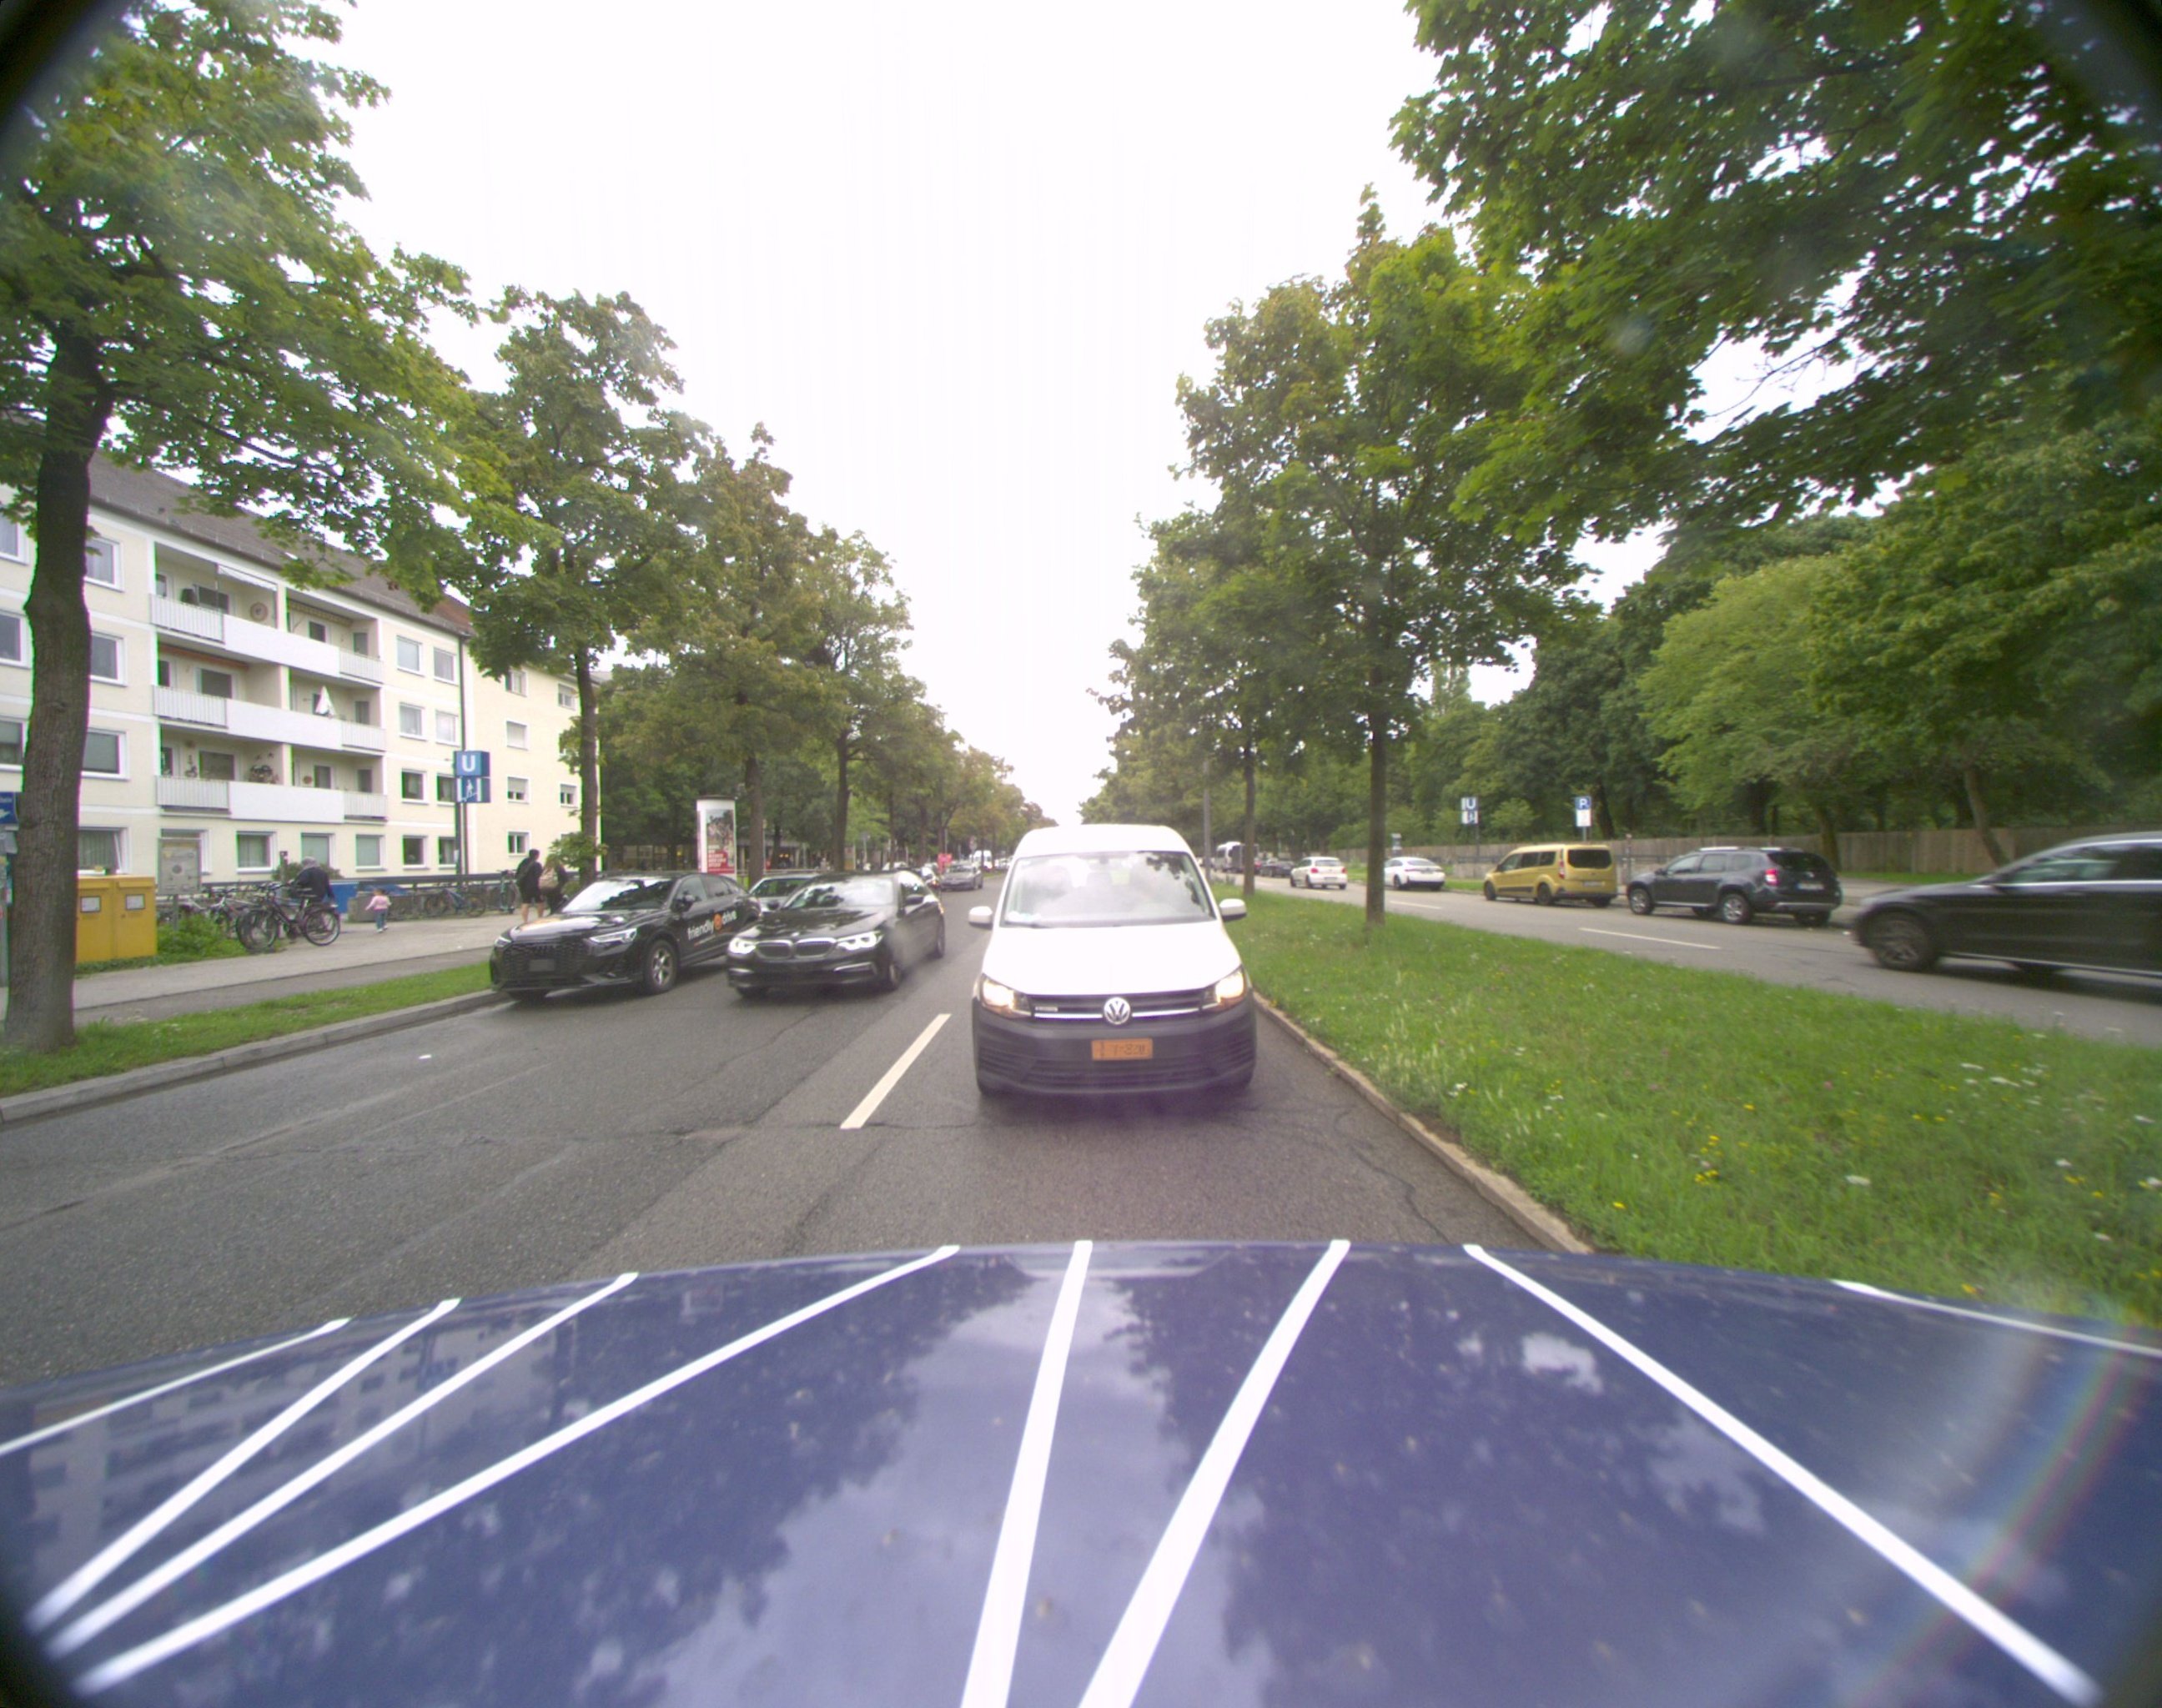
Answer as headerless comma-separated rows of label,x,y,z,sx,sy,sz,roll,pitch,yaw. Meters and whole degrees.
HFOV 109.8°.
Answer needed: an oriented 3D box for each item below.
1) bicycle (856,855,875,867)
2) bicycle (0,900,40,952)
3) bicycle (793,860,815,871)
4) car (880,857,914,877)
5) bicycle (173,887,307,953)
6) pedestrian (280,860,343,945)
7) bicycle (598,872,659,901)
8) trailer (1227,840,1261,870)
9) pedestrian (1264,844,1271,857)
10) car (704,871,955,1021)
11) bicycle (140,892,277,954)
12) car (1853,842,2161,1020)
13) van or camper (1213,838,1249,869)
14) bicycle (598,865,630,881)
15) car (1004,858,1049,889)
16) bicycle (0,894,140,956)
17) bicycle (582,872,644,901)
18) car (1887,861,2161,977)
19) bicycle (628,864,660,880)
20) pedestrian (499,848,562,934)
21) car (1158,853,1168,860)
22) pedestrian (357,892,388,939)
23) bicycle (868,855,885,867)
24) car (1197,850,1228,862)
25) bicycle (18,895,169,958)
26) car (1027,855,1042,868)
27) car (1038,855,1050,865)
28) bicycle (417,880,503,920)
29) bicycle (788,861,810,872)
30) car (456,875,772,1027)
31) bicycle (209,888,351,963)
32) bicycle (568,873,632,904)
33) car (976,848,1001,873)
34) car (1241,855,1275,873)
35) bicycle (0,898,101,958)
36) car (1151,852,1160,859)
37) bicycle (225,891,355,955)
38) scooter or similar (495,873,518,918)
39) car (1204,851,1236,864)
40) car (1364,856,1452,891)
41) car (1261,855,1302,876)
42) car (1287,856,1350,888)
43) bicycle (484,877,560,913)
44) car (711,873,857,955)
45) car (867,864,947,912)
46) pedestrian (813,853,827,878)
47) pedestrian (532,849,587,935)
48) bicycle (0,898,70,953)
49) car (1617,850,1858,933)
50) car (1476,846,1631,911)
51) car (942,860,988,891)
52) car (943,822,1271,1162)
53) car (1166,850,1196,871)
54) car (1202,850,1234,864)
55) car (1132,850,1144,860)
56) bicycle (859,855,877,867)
bicycle,-28.939,0.975,101.885,2.313,1.523,0.649,-1,1,0
bicycle,-22.245,1.479,15.121,0.432,1.022,1.883,0,0,1
bicycle,-29.309,1.247,80.451,2.080,1.114,0.455,-1,1,0
car,-16.308,1.121,67.655,1.826,1.624,4.198,0,0,2
bicycle,-15.956,1.215,14.487,0.432,1.095,1.883,0,0,1
pedestrian,-15.886,0.978,15.713,0.843,1.671,0.832,-1,1,-42
bicycle,-16.499,1.183,27.746,1.883,1.022,0.432,0,1,-8
trailer,14.419,0.077,67.474,2.022,2.575,4.658,0,0,0
pedestrian,26.678,-0.496,108.734,0.770,1.757,0.873,0,1,-4
car,-3.091,1.046,10.519,1.799,1.434,4.667,-3,0,1
bicycle,-16.659,1.278,14.585,0.432,1.022,1.883,0,0,1
car,10.721,0.709,7.411,1.771,1.614,4.506,1,0,0
van or camper,14.452,-0.034,73.582,2.040,2.821,7.546,0,0,0
bicycle,-28.963,1.191,47.126,1.696,0.965,0.455,-1,0,-4
car,-2.783,0.975,39.745,1.889,1.434,4.667,-3,0,1
bicycle,-19.446,1.328,14.568,0.432,1.022,1.883,0,0,1
bicycle,-16.732,1.160,27.186,1.883,1.022,0.432,0,1,-6
car,14.585,0.844,10.633,1.767,1.441,4.532,0,0,-1
bicycle,-27.180,1.133,47.268,1.696,0.965,0.455,-1,0,-4
pedestrian,-12.463,0.816,17.242,0.731,1.879,0.919,0,1,-1
car,16.631,0.465,154.240,1.889,1.435,4.169,-2,1,4
pedestrian,-15.006,1.298,16.100,0.410,0.944,0.434,-1,1,-38
bicycle,-29.272,0.984,108.710,2.316,1.613,0.648,-1,1,-17
car,18.846,0.300,108.992,4.005,1.455,1.888,-3,0,-27
bicycle,-18.951,1.361,14.652,0.432,1.022,1.883,0,0,1
car,-6.179,0.972,101.605,1.686,1.632,4.464,-4,0,0
car,-6.087,1.024,124.368,1.735,1.498,4.441,-3,0,-1
bicycle,-16.545,1.229,20.257,1.882,1.022,0.432,0,1,-3
bicycle,-29.024,1.278,78.129,2.080,1.114,0.455,-1,1,0
car,-6.124,1.150,10.684,1.721,1.524,4.275,-3,0,0
bicycle,-13.824,1.195,13.195,0.432,1.127,1.884,0,0,1
bicycle,-16.647,1.195,26.323,1.882,1.022,0.432,0,1,-3
car,-10.322,0.717,84.894,1.978,2.641,6.005,-3,0,0
car,14.272,0.785,61.432,1.805,1.376,4.238,0,0,0
bicycle,-20.166,1.407,14.510,0.432,1.022,1.883,0,0,1
car,16.294,0.335,166.141,1.889,1.435,4.169,-2,1,4
bicycle,-14.725,1.254,14.221,0.432,1.022,1.883,0,0,1
scooter or similar,-16.033,1.146,21.197,0.359,1.193,1.386,-1,1,-42
car,18.218,0.472,99.702,4.006,1.477,1.797,-3,0,-34
car,14.656,0.821,34.377,1.861,1.464,4.874,0,0,-1
car,14.425,0.802,54.920,1.805,1.417,4.431,0,0,0
car,10.752,0.787,34.622,1.622,1.367,3.837,1,0,0
bicycle,-16.666,1.220,22.670,1.882,1.022,0.432,0,1,-3
car,-6.299,1.203,16.650,1.640,1.378,4.243,-3,0,-3
car,-6.057,1.141,26.958,1.755,1.457,4.176,-3,0,1
pedestrian,-18.332,0.789,53.363,0.641,1.739,0.849,0,0,-2
pedestrian,-11.803,0.834,17.226,0.589,1.879,0.902,-1,1,-1
bicycle,-21.094,1.411,14.730,0.432,1.022,1.883,0,0,1
car,14.562,0.747,17.236,1.741,1.636,4.255,0,0,-1
car,14.339,0.681,23.455,1.819,1.772,4.817,0,0,1
car,-6.194,1.100,40.883,1.686,1.457,4.115,-3,0,1
car,0.107,0.740,6.418,1.750,1.807,4.667,-1,0,-1
car,8.244,0.505,62.958,1.908,1.686,4.245,1,0,1
car,18.535,0.424,102.694,4.005,1.577,1.798,-3,0,-29
car,11.038,0.158,147.186,1.804,1.922,4.993,0,1,-1
bicycle,-29.156,0.918,103.974,2.313,1.613,0.649,-1,1,0
